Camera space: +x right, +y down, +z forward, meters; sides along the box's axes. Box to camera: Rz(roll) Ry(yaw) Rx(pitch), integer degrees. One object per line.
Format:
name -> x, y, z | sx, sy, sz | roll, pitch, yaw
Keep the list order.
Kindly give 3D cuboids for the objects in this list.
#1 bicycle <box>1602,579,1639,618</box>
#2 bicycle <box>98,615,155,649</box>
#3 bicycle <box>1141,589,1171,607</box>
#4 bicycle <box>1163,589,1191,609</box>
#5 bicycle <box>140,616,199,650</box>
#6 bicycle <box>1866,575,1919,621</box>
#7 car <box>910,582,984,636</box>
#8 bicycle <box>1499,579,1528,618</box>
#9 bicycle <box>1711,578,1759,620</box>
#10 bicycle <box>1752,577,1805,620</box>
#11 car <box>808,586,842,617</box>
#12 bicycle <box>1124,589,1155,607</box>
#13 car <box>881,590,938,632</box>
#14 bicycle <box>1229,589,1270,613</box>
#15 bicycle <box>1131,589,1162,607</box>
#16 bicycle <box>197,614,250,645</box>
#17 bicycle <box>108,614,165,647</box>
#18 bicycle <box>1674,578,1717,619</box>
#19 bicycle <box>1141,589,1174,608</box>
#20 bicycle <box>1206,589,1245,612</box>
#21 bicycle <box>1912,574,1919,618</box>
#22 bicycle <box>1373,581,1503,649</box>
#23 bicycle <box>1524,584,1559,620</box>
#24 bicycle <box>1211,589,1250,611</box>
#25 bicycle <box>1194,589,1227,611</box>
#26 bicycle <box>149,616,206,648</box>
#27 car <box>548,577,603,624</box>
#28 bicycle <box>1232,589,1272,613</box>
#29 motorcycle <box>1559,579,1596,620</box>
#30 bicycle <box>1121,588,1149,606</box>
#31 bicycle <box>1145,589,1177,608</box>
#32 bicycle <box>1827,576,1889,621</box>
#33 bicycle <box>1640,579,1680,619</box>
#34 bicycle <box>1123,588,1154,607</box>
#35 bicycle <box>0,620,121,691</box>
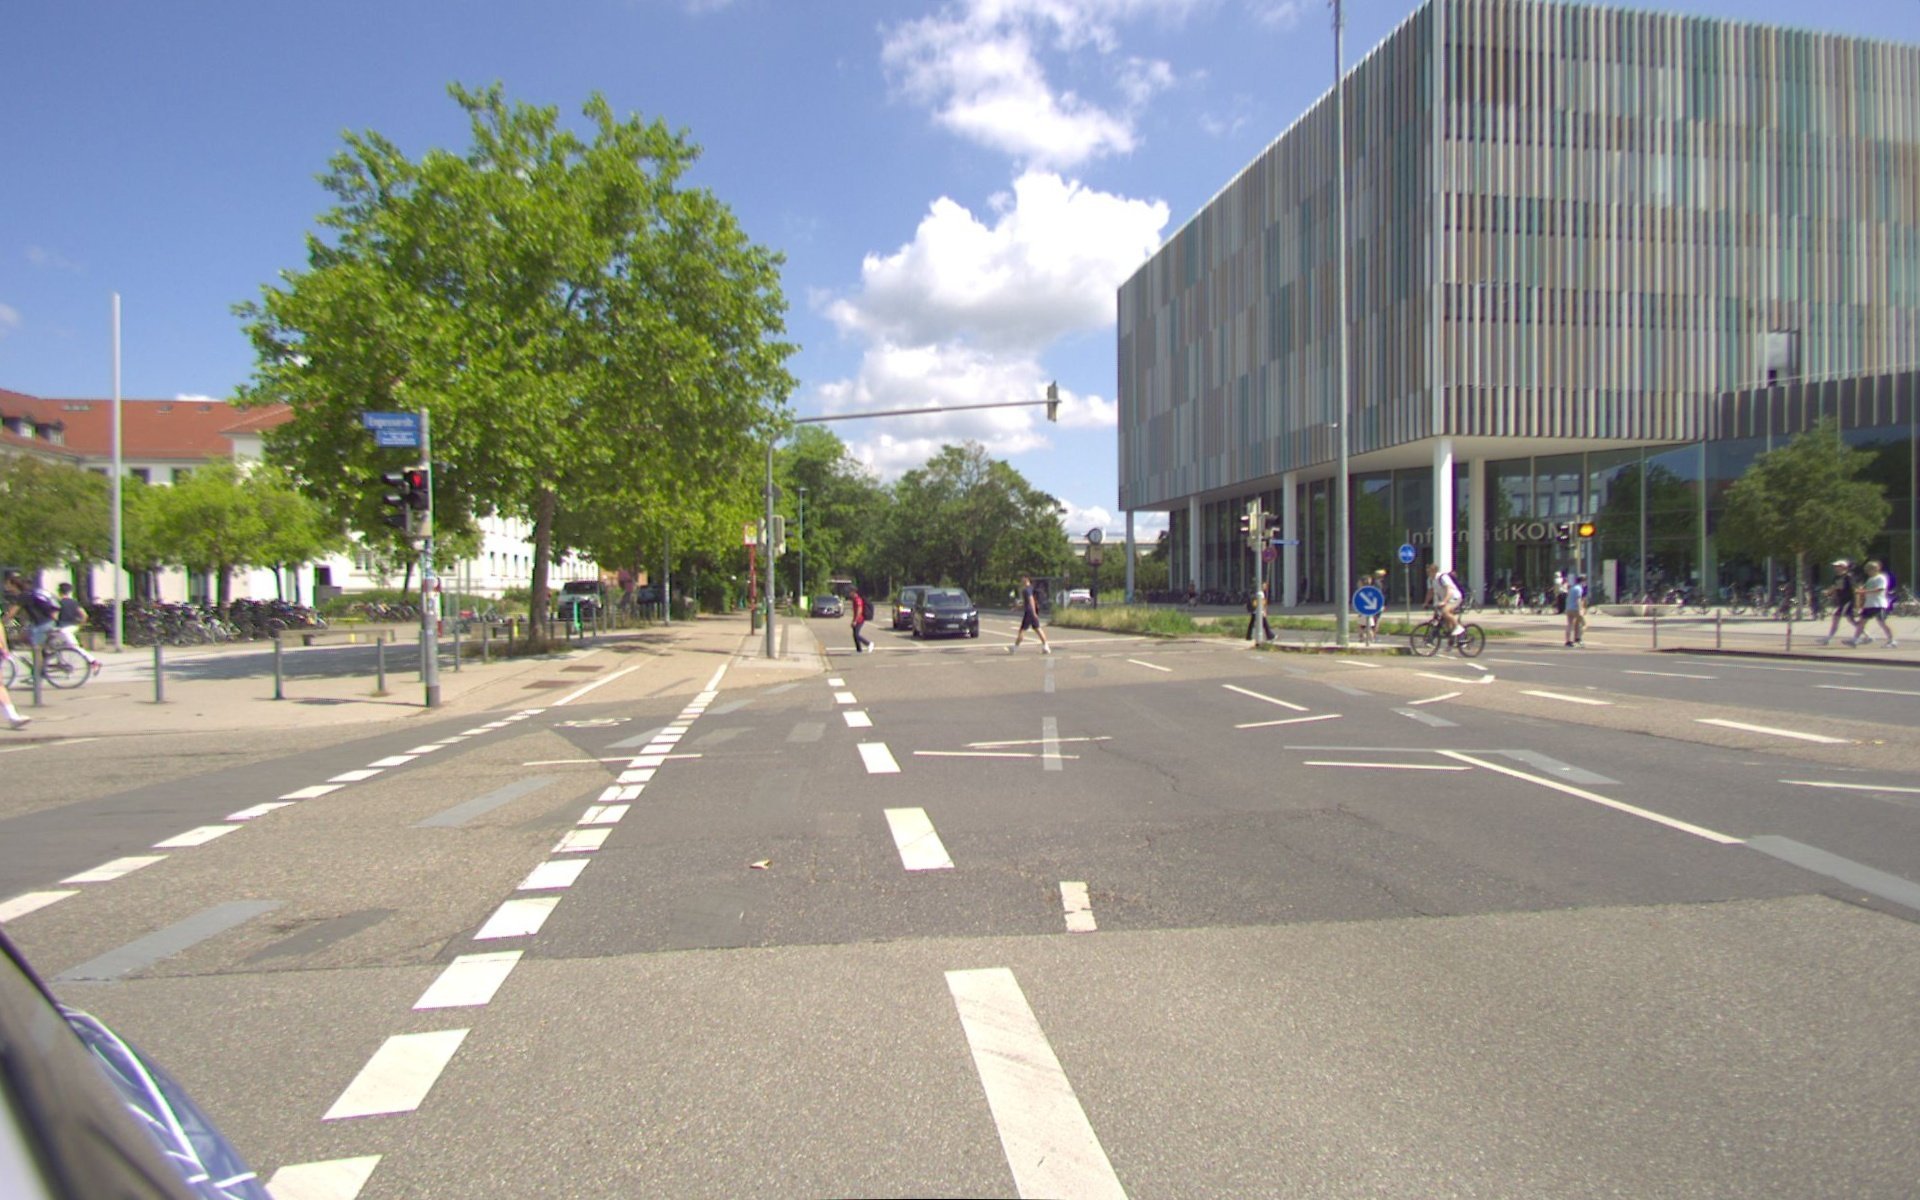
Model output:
bicycle -> 27.471, -0.064, 42.151 | 1.048, 1.563, 3.380 | -1, 0, 30
bicycle -> -25.647, 0.969, 31.144 | 1.349, 1.008, 0.353 | -1, 0, -12
bicycle -> 16.125, -0.170, 83.317 | 2.295, 1.506, 0.622 | -1, 0, -6
bicycle -> 16.849, -0.100, 78.616 | 2.040, 1.506, 0.622 | -1, 0, -6
bicycle -> -23.672, 0.984, 30.312 | 1.349, 0.958, 0.353 | -1, 0, -12
bicycle -> 33.785, -0.095, 36.444 | 0.996, 1.563, 3.380 | -1, 0, 30
car -> -0.495, 0.279, 32.902 | 1.817, 1.614, 4.008 | -1, 0, -9
bicycle -> 24.335, -0.065, 44.463 | 0.808, 1.656, 3.375 | -1, 0, 34
bicycle -> 30.288, -0.056, 39.607 | 0.996, 1.563, 3.380 | -1, 0, 30
bicycle -> 31.102, -0.050, 38.505 | 0.996, 1.563, 3.380 | -1, 0, 30
car -> -8.499, 0.090, 63.548 | 1.882, 1.796, 4.009 | -1, 0, -11
bicycle -> 15.263, -0.200, 85.866 | 2.474, 1.506, 0.622 | -1, 0, -6
car -> -2.050, 0.419, 40.319 | 1.817, 1.548, 4.008 | -1, 0, -9
bicycle -> 19.079, 0.069, 66.658 | 2.480, 1.506, 0.729 | -1, 0, 4
bicycle -> 15.633, -0.190, 84.969 | 2.474, 1.506, 0.622 | -1, 0, -6
bicycle -> -23.609, 0.943, 32.459 | 1.349, 0.958, 0.353 | -1, 0, -12
bicycle -> -25.742, 0.954, 31.645 | 1.349, 1.008, 0.353 | -1, 0, -12
bicycle -> 29.360, -0.060, 40.432 | 0.996, 1.563, 3.380 | -1, 0, 30
bicycle -> 16.051, -0.150, 82.231 | 2.474, 1.506, 0.622 | -1, 0, -6
bicycle -> 18.155, 0.039, 69.256 | 2.474, 1.506, 0.622 | -1, 0, -6
bicycle -> 34.335, -0.137, 35.199 | 0.996, 1.563, 3.380 | -1, 0, 30
bicycle -> 9.324, 0.278, 19.776 | 2.131, 1.261, 0.887 | -1, 0, -7
bicycle -> 25.182, 0.077, 43.821 | 0.932, 1.505, 2.653 | -1, 1, 38
bicycle -> 18.765, 0.014, 70.231 | 2.474, 1.506, 0.622 | -1, 0, -6
bicycle -> 17.898, -0.010, 72.348 | 2.167, 1.506, 0.622 | -1, 0, -6
bicycle -> -23.850, 0.973, 30.864 | 1.349, 0.954, 0.353 | -1, 0, -12
car -> -17.922, 0.012, 47.329 | 1.966, 2.070, 4.241 | -1, 0, -15
bicycle -> 18.930, 0.089, 65.627 | 2.415, 1.506, 0.622 | -1, 0, -6
motorcycle -> 26.251, -0.032, 42.984 | 0.970, 1.652, 3.256 | -1, 0, 37
bicycle -> 15.205, -0.233, 87.862 | 2.268, 1.506, 0.658 | -1, 0, -6
bicycle -> 16.106, -0.132, 81.116 | 2.474, 1.506, 0.622 | -1, 0, -6
bicycle -> 32.815, -0.049, 37.042 | 0.996, 1.563, 3.380 | -1, 0, 30
bicycle -> 28.485, -0.061, 41.220 | 0.996, 1.563, 3.380 | -1, 0, 30
bicycle -> 15.279, -0.213, 86.574 | 2.474, 1.506, 0.622 | -1, 0, -6
bicycle -> -15.526, 0.927, 17.092 | 2.021, 1.143, 0.692 | -1, 0, -8
